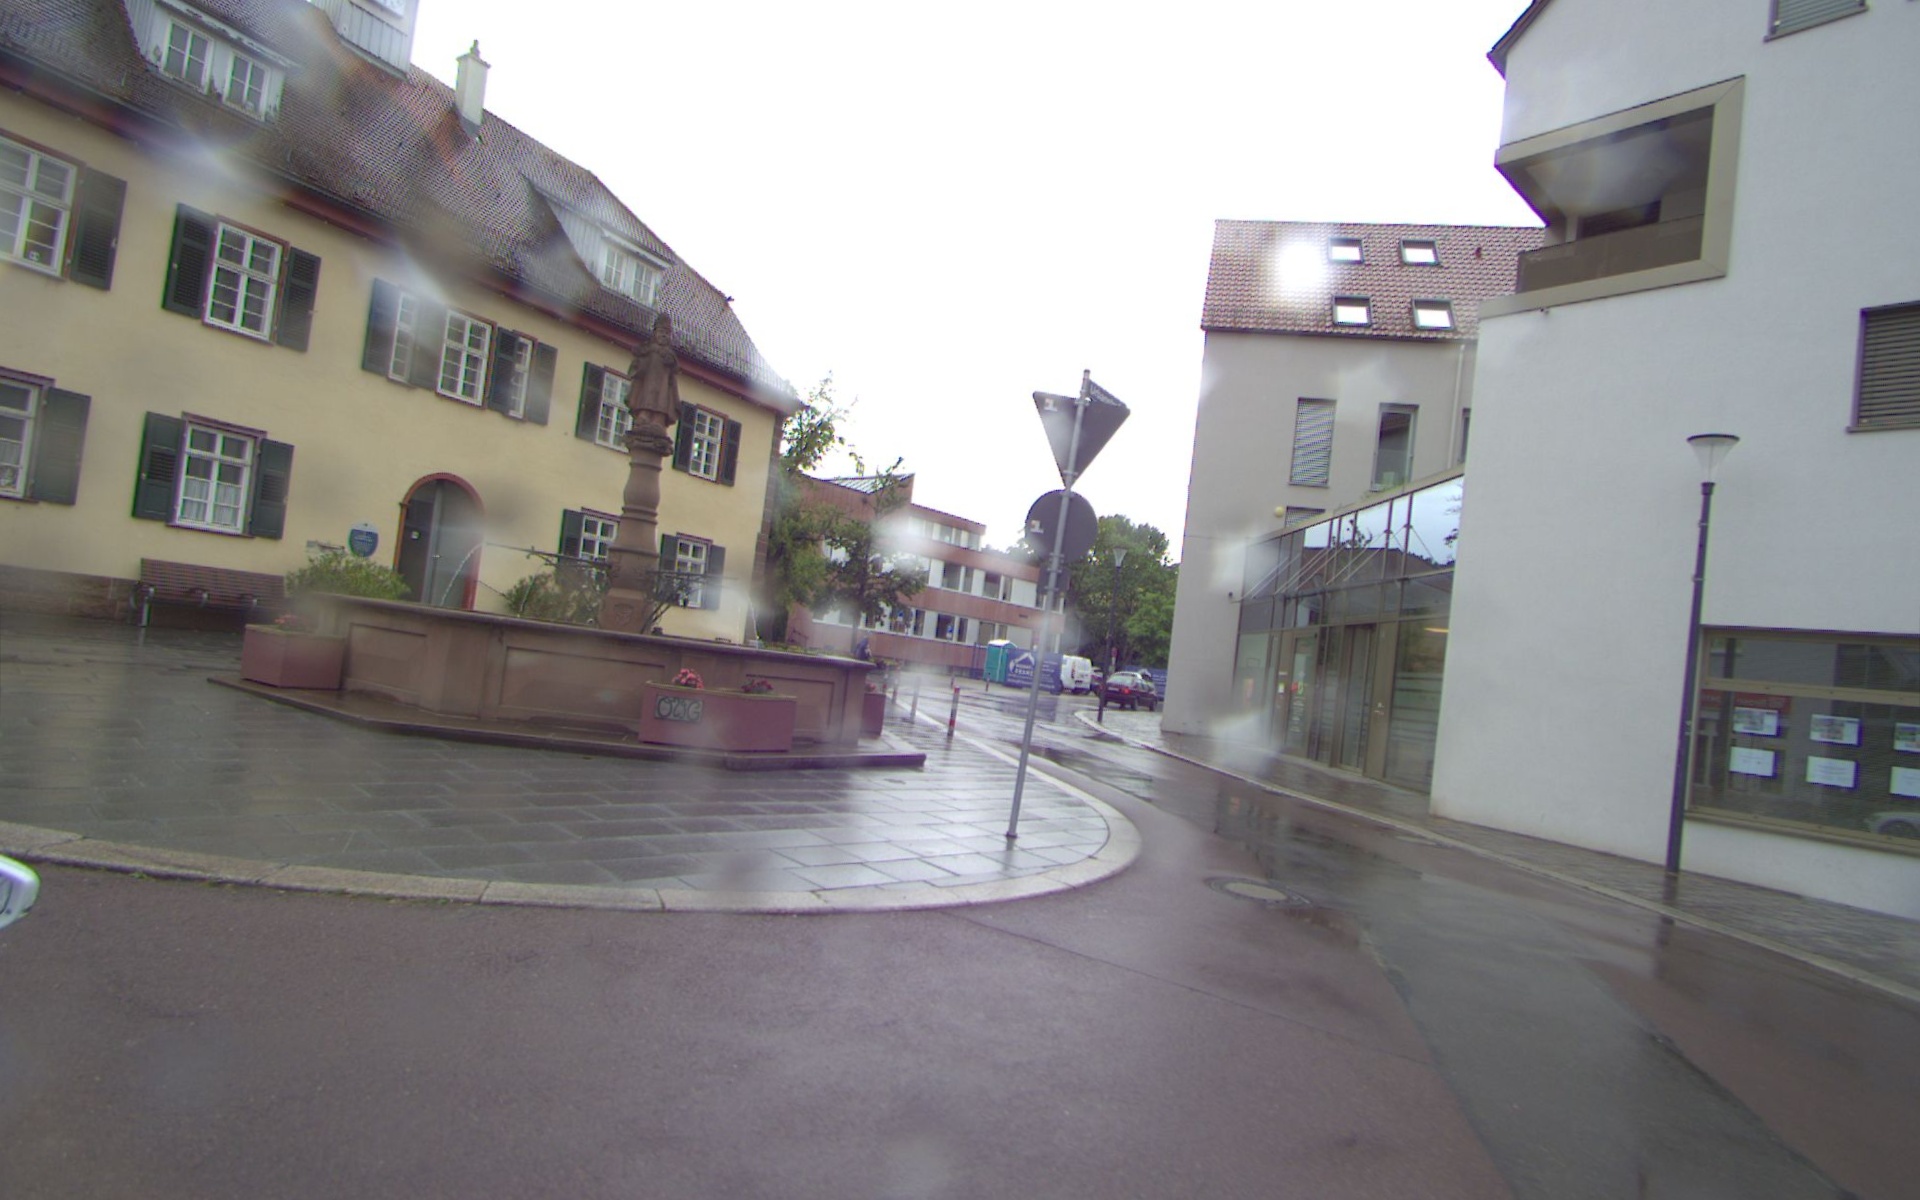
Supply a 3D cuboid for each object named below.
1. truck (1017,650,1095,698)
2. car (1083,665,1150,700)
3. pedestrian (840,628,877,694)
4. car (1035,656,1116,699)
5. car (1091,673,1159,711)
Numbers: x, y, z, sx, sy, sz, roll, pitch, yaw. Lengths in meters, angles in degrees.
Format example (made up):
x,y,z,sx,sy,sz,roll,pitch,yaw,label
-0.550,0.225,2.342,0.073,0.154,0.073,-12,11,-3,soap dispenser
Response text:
x,y,z,sx,sy,sz,roll,pitch,yaw,label
5.157,3.976,53.962,3.490,2.037,1.862,6,-2,32,truck
9.539,5.035,61.422,3.490,1.566,1.862,6,-2,32,car
-2.986,1.797,29.678,0.778,1.843,0.687,7,-1,5,pedestrian
6.519,4.372,56.809,3.933,1.814,1.998,6,-2,31,car
7.404,4.112,44.955,1.645,1.379,3.602,6,-3,31,car
